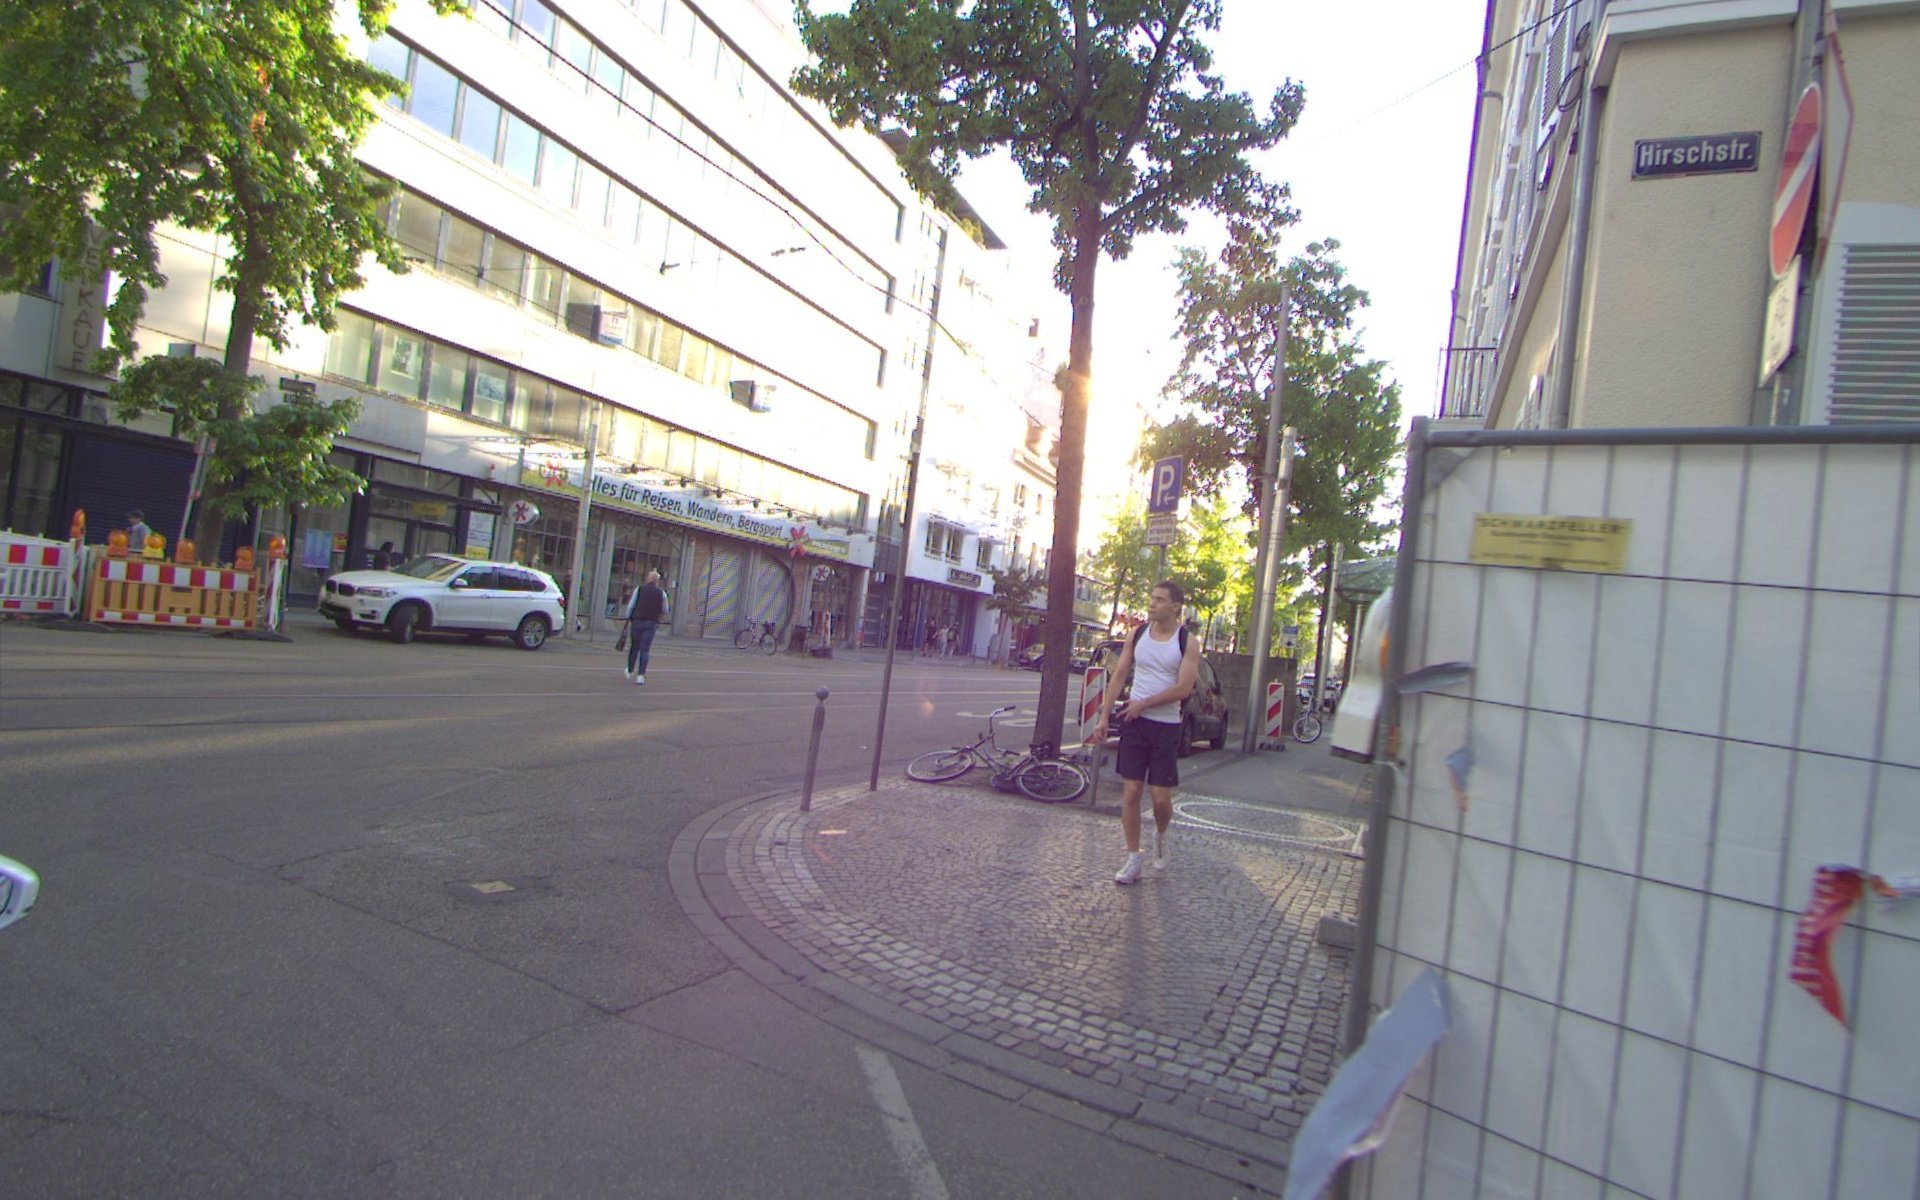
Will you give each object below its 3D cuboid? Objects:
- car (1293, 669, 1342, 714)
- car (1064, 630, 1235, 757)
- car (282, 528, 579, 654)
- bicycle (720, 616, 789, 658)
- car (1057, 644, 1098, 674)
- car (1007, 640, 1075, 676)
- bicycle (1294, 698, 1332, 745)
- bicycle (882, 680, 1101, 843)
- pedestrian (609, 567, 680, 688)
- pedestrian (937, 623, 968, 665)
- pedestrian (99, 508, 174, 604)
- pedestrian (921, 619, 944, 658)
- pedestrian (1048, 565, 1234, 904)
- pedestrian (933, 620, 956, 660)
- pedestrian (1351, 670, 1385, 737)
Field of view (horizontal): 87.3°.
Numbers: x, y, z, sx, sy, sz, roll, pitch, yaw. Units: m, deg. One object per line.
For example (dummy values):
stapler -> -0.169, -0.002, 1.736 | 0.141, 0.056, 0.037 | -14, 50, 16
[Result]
car -> 16.602, 4.207, 46.599 | 1.797, 1.770, 3.789 | 7, -2, 23
car -> 3.382, 1.625, 17.391 | 1.729, 1.815, 3.651 | 4, -3, 29
car -> -10.419, -0.072, 20.314 | 1.986, 1.796, 4.947 | 9, -1, 25
bicycle -> -6.409, 1.157, 31.374 | 1.990, 0.964, 0.669 | 10, 1, 23
car -> 7.198, 3.577, 61.211 | 1.798, 1.482, 3.732 | 9, -1, 15
car -> 4.370, 3.100, 53.791 | 1.703, 1.402, 3.650 | 9, -1, 39
bicycle -> 8.157, 2.774, 23.185 | 0.529, 0.964, 2.025 | 5, -2, 26
bicycle -> 0.284, 1.505, 9.795 | 1.376, 0.443, 1.682 | -43, 29, -28
pedestrian -> -5.072, 0.419, 16.137 | 0.795, 1.798, 1.066 | 7, 0, -24
pedestrian -> -0.336, 2.010, 46.341 | 0.793, 1.798, 0.969 | 7, 0, 37
pedestrian -> -14.487, -0.758, 17.704 | 0.568, 1.568, 0.707 | 7, 0, 22
pedestrian -> -1.342, 1.855, 48.669 | 0.617, 1.798, 0.815 | 7, 0, 23
pedestrian -> 1.160, 0.779, 6.264 | 0.790, 1.842, 1.072 | 6, 0, 21
pedestrian -> -0.729, 1.930, 48.426 | 0.617, 1.798, 0.815 | 7, 0, 23
pedestrian -> 11.508, 2.906, 28.418 | 0.790, 1.798, 0.972 | 3, -1, 22
